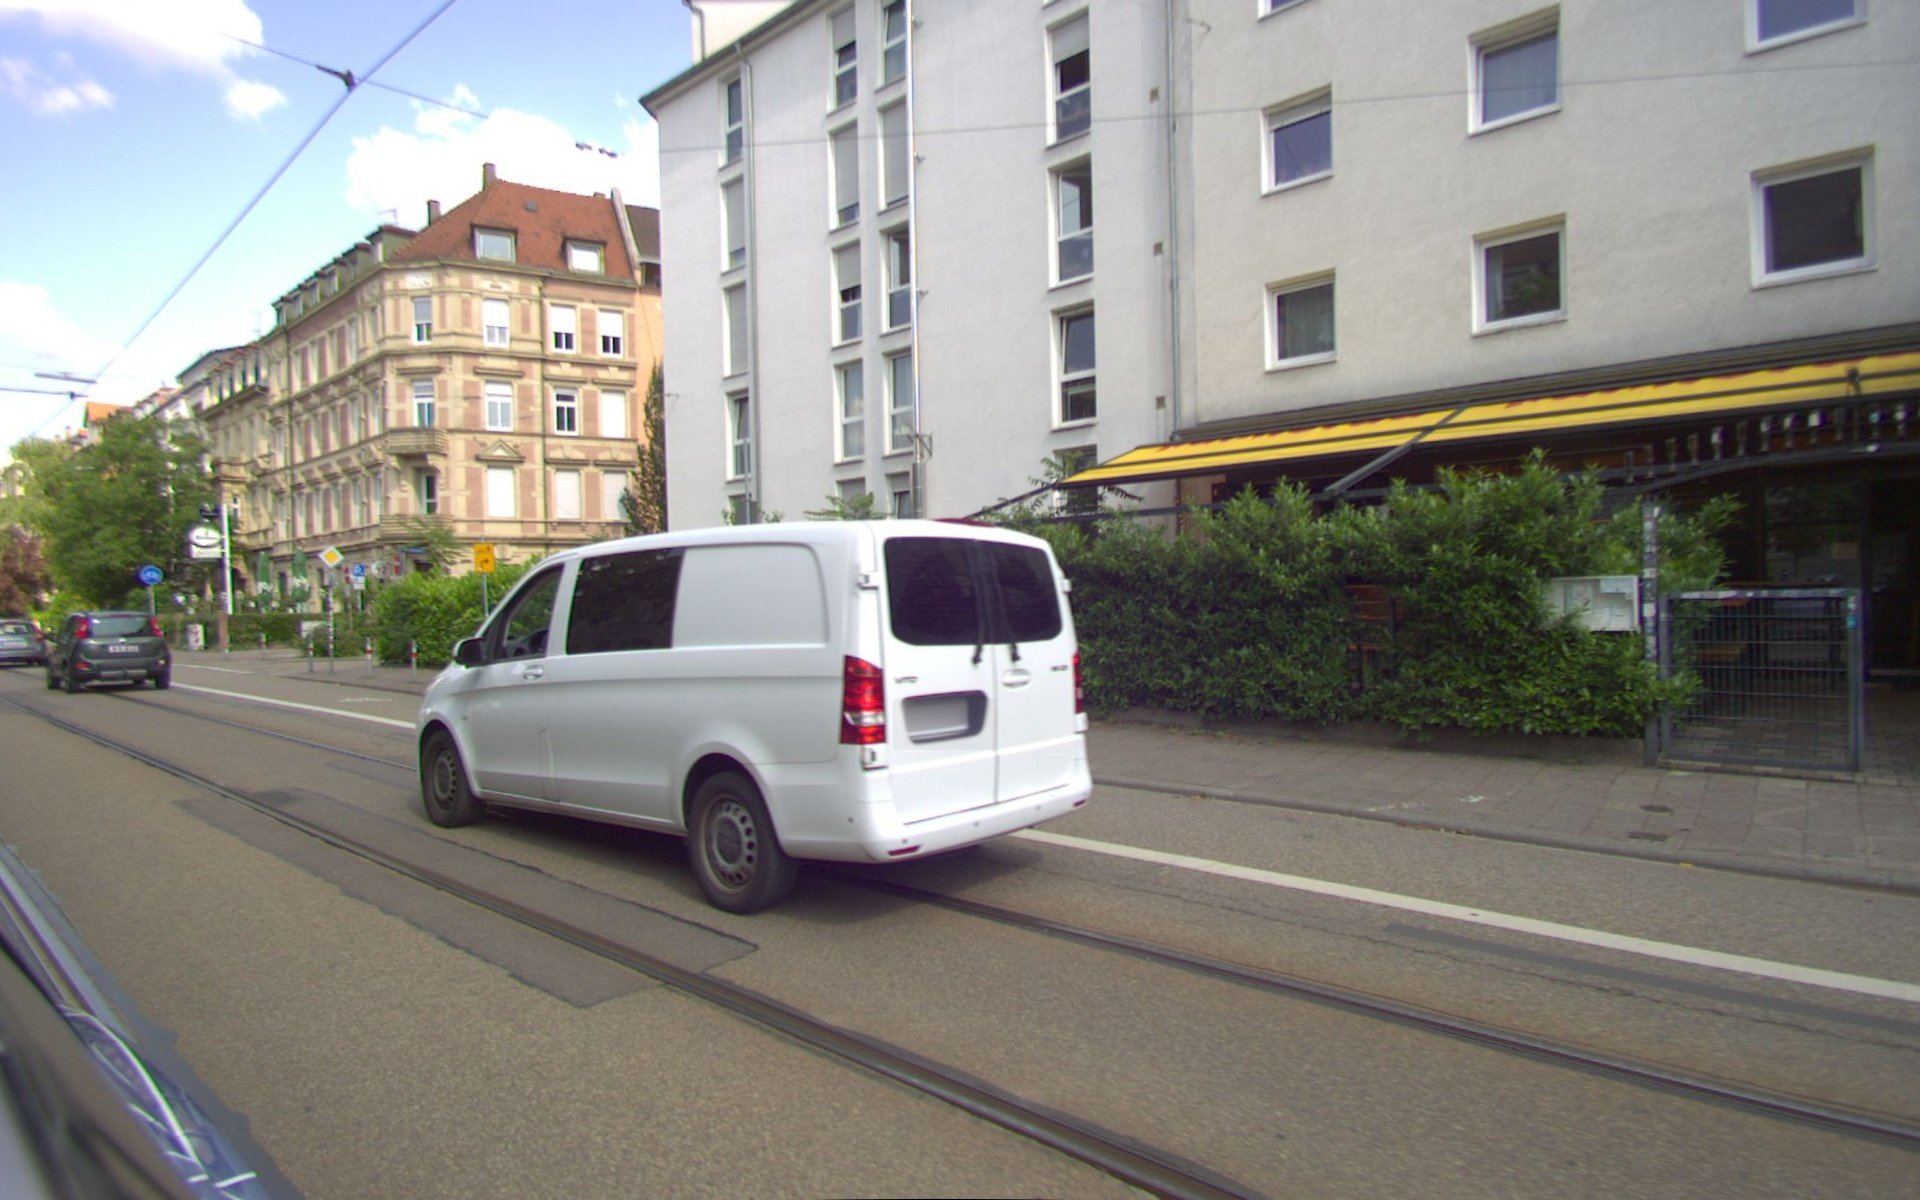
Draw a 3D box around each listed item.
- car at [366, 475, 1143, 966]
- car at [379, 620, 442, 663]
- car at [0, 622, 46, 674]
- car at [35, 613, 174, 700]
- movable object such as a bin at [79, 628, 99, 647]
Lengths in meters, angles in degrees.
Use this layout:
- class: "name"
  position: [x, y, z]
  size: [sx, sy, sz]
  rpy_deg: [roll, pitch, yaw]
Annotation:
- class: "car"
  position: [-1.694, 0.514, 6.420]
  size: [5.379, 1.922, 1.878]
  rpy_deg: [-2, -1, 40]
- class: "car"
  position: [-20.048, 1.450, 36.925]
  size: [1.861, 1.375, 4.978]
  rpy_deg: [-2, 0, -29]
- class: "car"
  position: [-30.250, 1.486, 31.851]
  size: [4.275, 1.552, 1.709]
  rpy_deg: [-1, -1, 41]
- class: "car"
  position: [-17.342, 1.087, 20.460]
  size: [3.820, 1.568, 1.614]
  rpy_deg: [-2, -1, 42]
- class: "movable object such as a bin"
  position: [-52.192, 2.255, 60.635]
  size: [0.733, 1.116, 0.765]
  rpy_deg: [-2, 0, 41]
